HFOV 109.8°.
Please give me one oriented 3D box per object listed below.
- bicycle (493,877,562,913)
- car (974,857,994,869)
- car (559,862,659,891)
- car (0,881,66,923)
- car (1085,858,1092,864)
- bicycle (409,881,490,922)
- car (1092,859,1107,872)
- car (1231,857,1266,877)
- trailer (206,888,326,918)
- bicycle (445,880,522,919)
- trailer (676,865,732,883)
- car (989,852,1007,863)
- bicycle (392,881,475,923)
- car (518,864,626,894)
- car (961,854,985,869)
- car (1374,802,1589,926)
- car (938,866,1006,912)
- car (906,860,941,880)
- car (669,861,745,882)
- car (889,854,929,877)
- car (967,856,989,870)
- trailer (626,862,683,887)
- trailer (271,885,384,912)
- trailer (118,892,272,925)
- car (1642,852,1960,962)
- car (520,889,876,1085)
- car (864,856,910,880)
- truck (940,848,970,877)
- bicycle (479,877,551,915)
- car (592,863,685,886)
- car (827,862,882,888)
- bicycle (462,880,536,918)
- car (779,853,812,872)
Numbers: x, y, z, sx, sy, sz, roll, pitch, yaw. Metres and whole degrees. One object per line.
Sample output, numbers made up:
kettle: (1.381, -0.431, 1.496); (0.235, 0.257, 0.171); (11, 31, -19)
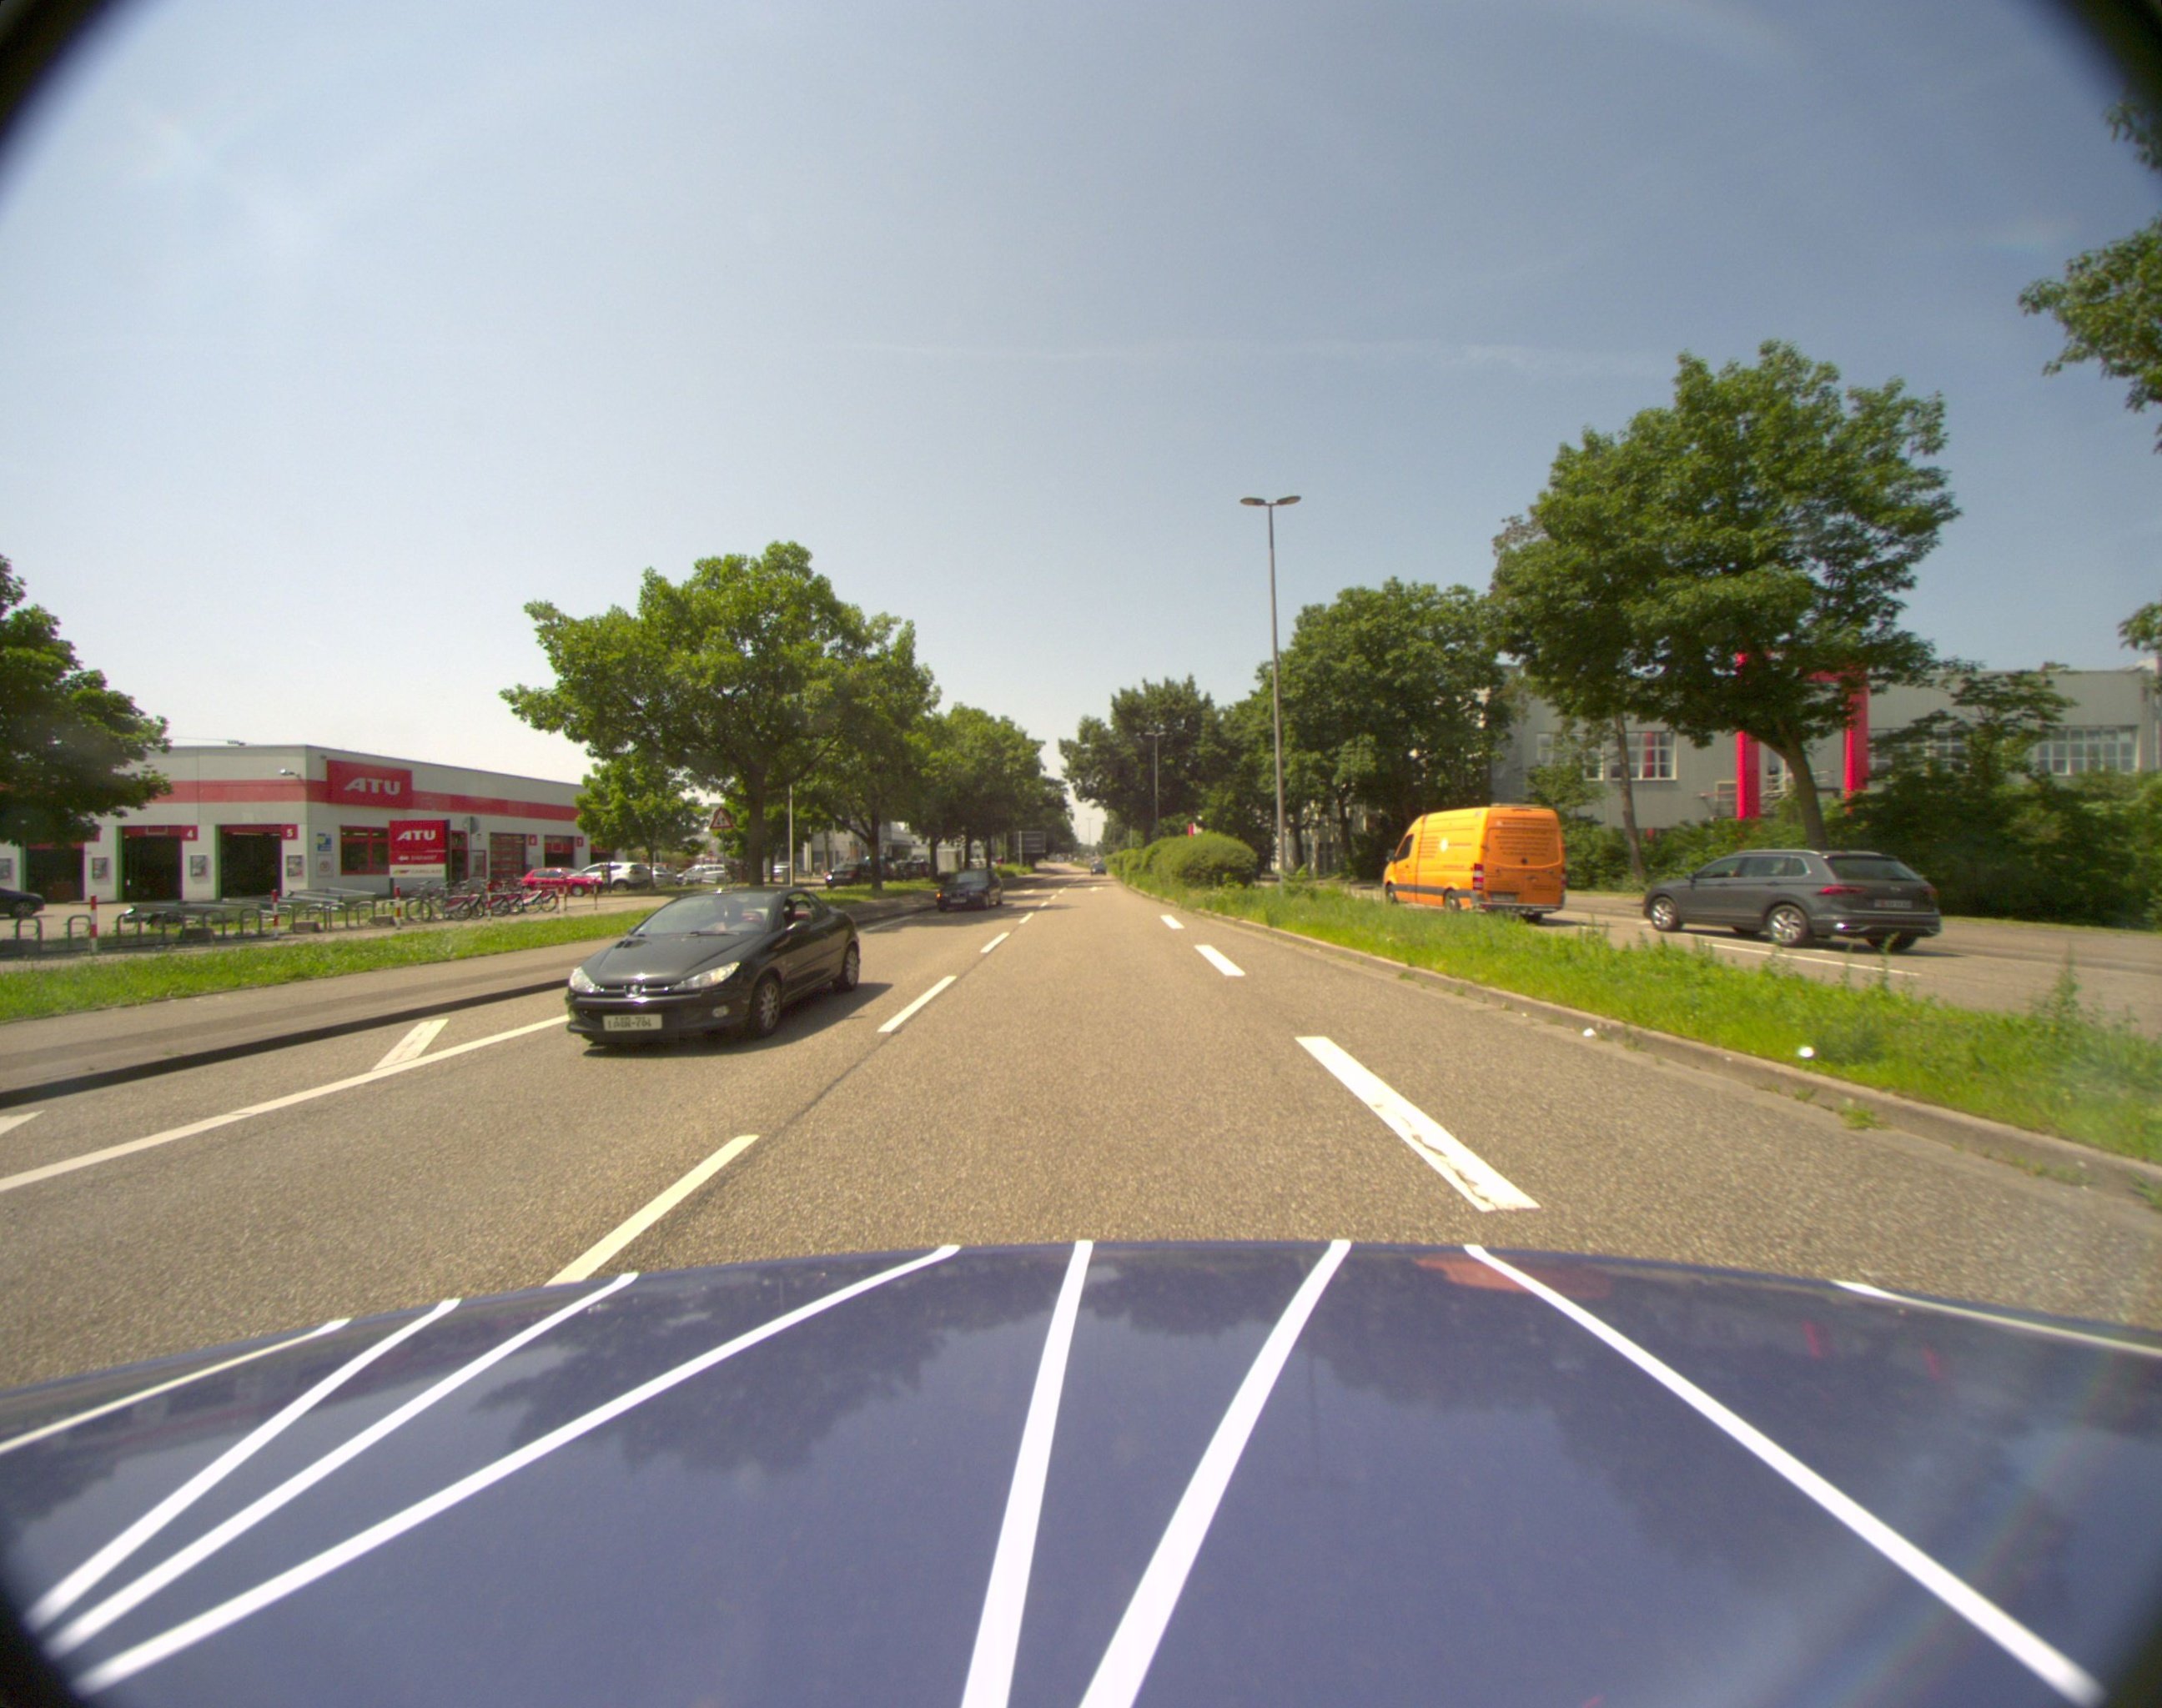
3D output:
bicycle: (-17.820, 1.319, 24.486); (1.784, 1.117, 0.514); (-1, 0, -5)
car: (-11.495, 1.041, 90.557); (1.719, 1.458, 4.001); (-1, 0, 2)
car: (-24.214, 1.141, 39.049); (3.997, 1.394, 1.747); (-1, 0, -2)
car: (-37.391, 1.653, 25.259); (1.717, 1.364, 4.145); (0, 0, 1)
car: (2.027, 1.874, 212.071); (1.998, 1.692, 4.000); (-1, 0, 1)
bicycle: (-18.001, 1.336, 21.689); (1.784, 1.117, 0.514); (-1, 0, -5)
car: (2.007, 1.202, 82.838); (1.642, 1.395, 4.000); (-1, 0, 1)
car: (13.060, 0.989, 59.590); (1.690, 1.379, 4.588); (2, 0, 0)
trailer: (-23.498, 1.406, 21.940); (2.137, 0.757, 1.267); (-1, 0, 3)
bicycle: (-17.687, 1.337, 22.518); (1.784, 1.117, 0.514); (-1, 0, -5)
trailer: (-22.999, 1.219, 46.434); (2.642, 1.046, 1.578); (-1, 0, -1)
car: (-10.594, 0.445, 96.930); (1.719, 1.458, 4.001); (-1, 0, 2)
bicycle: (-17.960, 1.317, 21.093); (1.784, 1.117, 0.514); (-1, 0, -5)
car: (-24.494, 1.188, 36.639); (3.997, 1.394, 1.747); (-1, 0, -1)
car: (-10.867, 0.724, 76.494); (1.719, 1.458, 4.001); (-1, 0, 2)
car: (9.572, 0.219, 18.990); (2.271, 2.552, 6.058); (1, 0, 1)
car: (-3.713, 1.154, 26.482); (1.642, 1.363, 4.145); (-3, 0, 1)
car: (-12.148, 1.231, 58.960); (1.719, 1.504, 4.001); (-1, 0, 2)
car: (-23.857, 1.126, 48.565); (3.997, 1.293, 1.689); (-1, 0, -2)
car: (-11.977, 0.798, 53.037); (1.719, 1.511, 4.001); (-1, 0, 2)
car: (-11.259, 1.003, 83.046); (1.719, 1.458, 4.001); (-1, 0, 2)
trailer: (-26.043, 1.245, 46.407); (2.642, 1.518, 1.415); (-1, 0, -1)
trailer: (-23.417, 1.382, 23.658); (2.137, 0.757, 1.394); (-1, 0, 3)
trailer: (-23.495, 1.425, 20.215); (2.466, 0.757, 1.449); (-1, 0, 3)
car: (12.460, 0.807, 13.615); (1.720, 1.594, 4.213); (2, 0, 1)
car: (-3.596, 1.155, 8.067); (1.642, 1.336, 4.000); (-3, 0, 1)
car: (-12.099, 0.847, 47.696); (1.719, 1.458, 4.001); (-1, 0, 2)
truck: (-11.684, 0.785, 70.682); (1.904, 2.552, 4.001); (-1, 0, 3)
bicycle: (-17.770, 1.312, 23.863); (1.784, 1.117, 0.514); (-1, 0, -5)
car: (-24.077, 1.112, 41.464); (3.997, 1.201, 1.747); (-1, 0, -2)
car: (-12.371, 1.116, 41.724); (1.642, 1.363, 4.001); (-1, 0, 2)
bicycle: (-17.732, 1.372, 23.158); (1.784, 1.117, 0.514); (-1, 0, -5)
car: (-25.117, 0.743, 66.961); (1.759, 1.586, 3.998); (-1, 0, -5)
